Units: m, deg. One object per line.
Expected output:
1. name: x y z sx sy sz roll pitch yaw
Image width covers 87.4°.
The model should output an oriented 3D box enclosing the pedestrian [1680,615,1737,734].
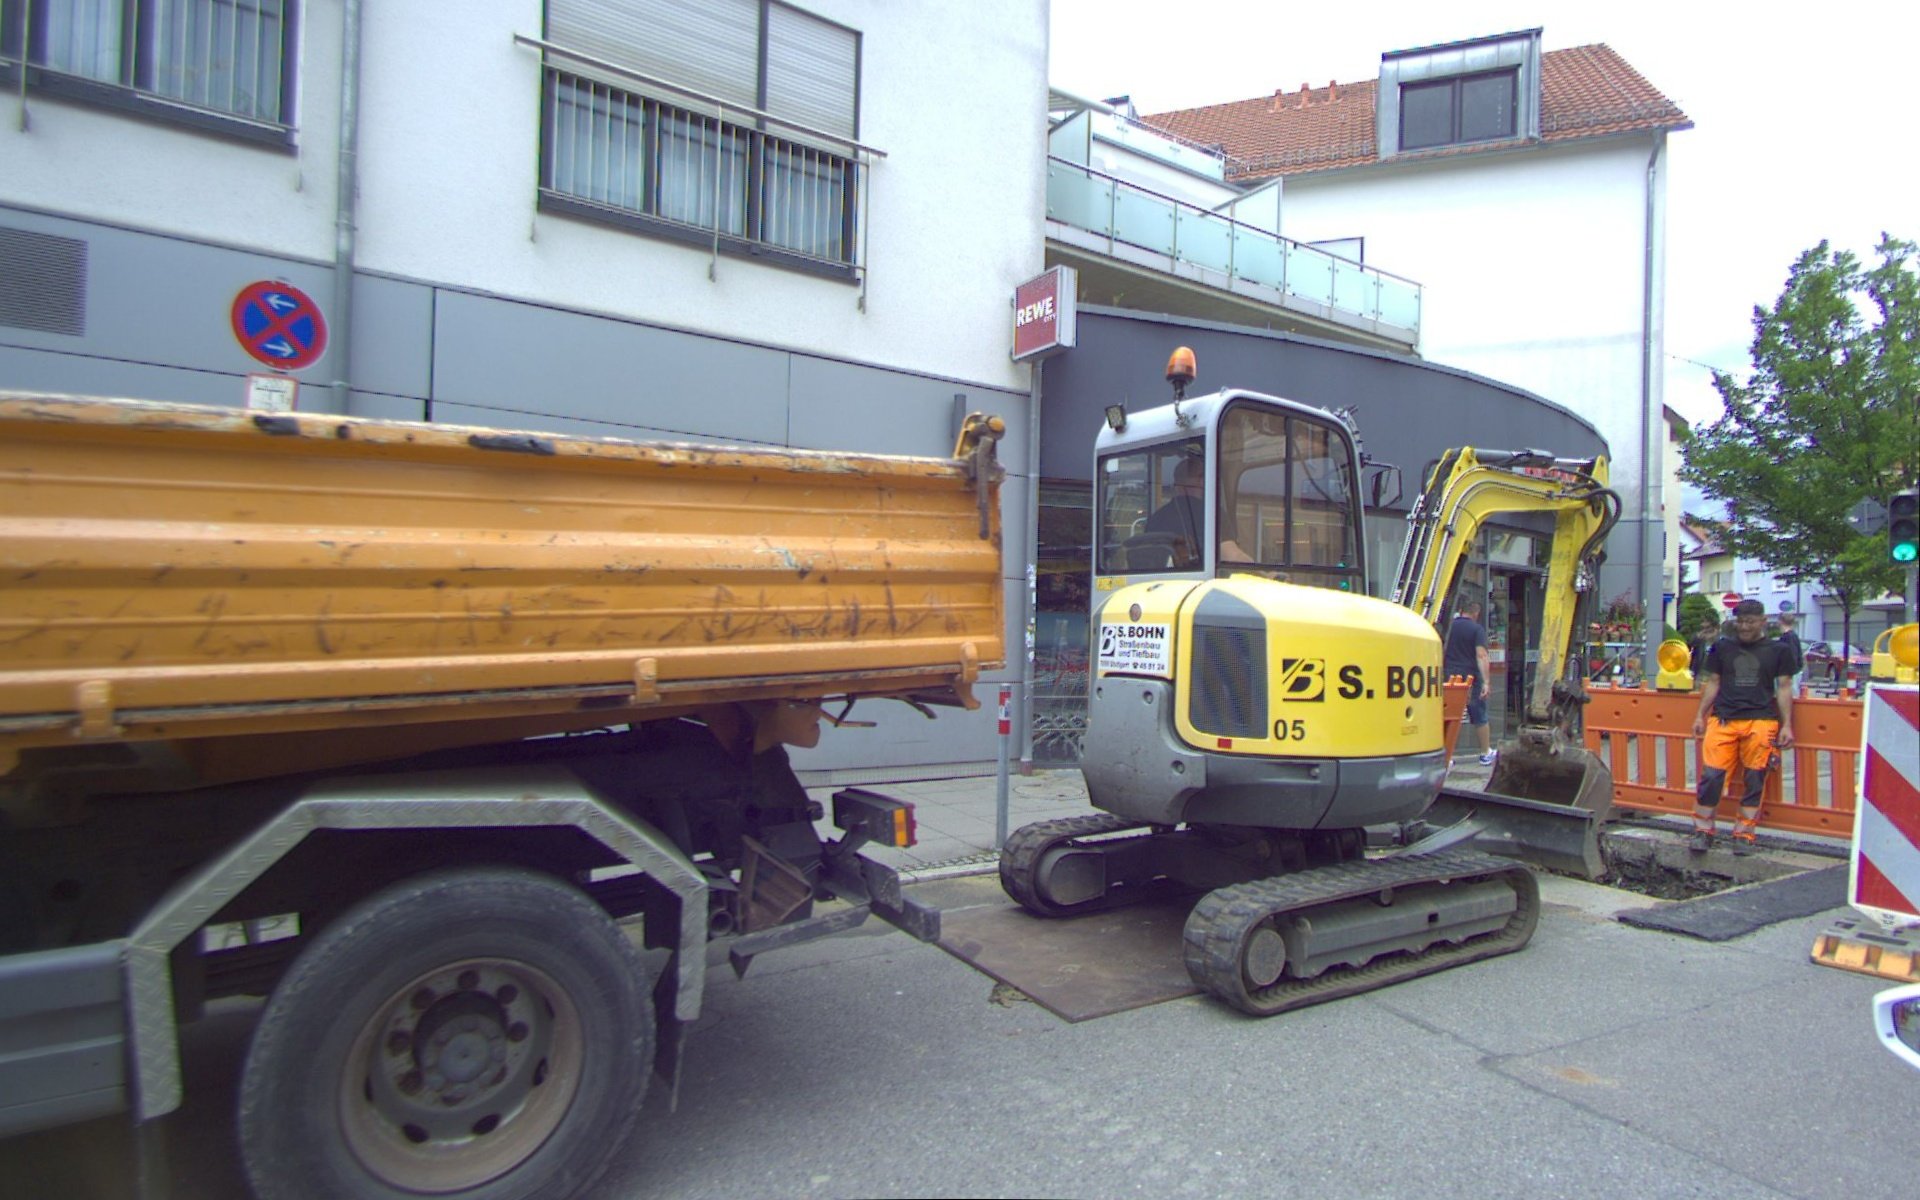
1. pedestrian: 11.804 1.146 15.860 0.682 1.814 0.716 0 -1 35

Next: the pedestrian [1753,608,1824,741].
1. pedestrian: 12.588 1.104 15.287 0.804 1.951 0.781 0 -1 39

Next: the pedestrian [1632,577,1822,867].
1. pedestrian: 5.262 0.787 6.918 0.734 1.840 0.811 1 -1 -27

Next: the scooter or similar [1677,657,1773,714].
1. scooter or similar: 16.195 1.803 21.296 1.502 1.138 0.598 0 -1 18

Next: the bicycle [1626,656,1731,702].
1. bicycle: 17.779 1.941 24.899 1.922 1.088 0.812 -1 -2 19

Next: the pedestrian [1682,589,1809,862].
1. pedestrian: 5.350 0.822 6.854 0.438 1.767 0.535 1 -1 -26

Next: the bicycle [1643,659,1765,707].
1. bicycle: 17.241 1.930 23.338 2.109 1.060 0.751 -2 -3 17

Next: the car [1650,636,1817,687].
1. car: 26.792 2.117 34.910 4.241 1.661 2.001 1 -2 2

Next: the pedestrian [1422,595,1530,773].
1. pedestrian: 5.688 0.899 11.087 0.778 1.868 0.750 1 -1 -26

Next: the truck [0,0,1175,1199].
1. truck: -2.890 0.158 2.741 6.766 2.761 2.719 1 -1 -30

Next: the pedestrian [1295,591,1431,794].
1. pedestrian: 3.645 0.803 9.131 0.804 1.735 0.830 1 -1 -24

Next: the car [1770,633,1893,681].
1. car: 33.280 2.137 38.534 1.982 1.578 4.918 1 0 21

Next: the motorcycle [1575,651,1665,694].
1. motorcycle: 18.168 1.998 27.701 1.915 1.119 0.803 0 -2 14

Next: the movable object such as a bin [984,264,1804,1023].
1. movable object such as a bin: 2.529 0.251 5.585 4.450 2.799 1.832 2 -2 -29

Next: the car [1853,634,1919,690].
1. car: 29.862 1.901 30.965 1.982 1.578 4.916 1 0 23

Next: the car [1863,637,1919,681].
1. car: 37.401 2.288 38.695 1.981 1.578 4.920 1 0 17

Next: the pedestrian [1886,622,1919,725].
1. pedestrian: 15.389 1.159 15.876 0.862 1.613 0.683 1 -1 -4
